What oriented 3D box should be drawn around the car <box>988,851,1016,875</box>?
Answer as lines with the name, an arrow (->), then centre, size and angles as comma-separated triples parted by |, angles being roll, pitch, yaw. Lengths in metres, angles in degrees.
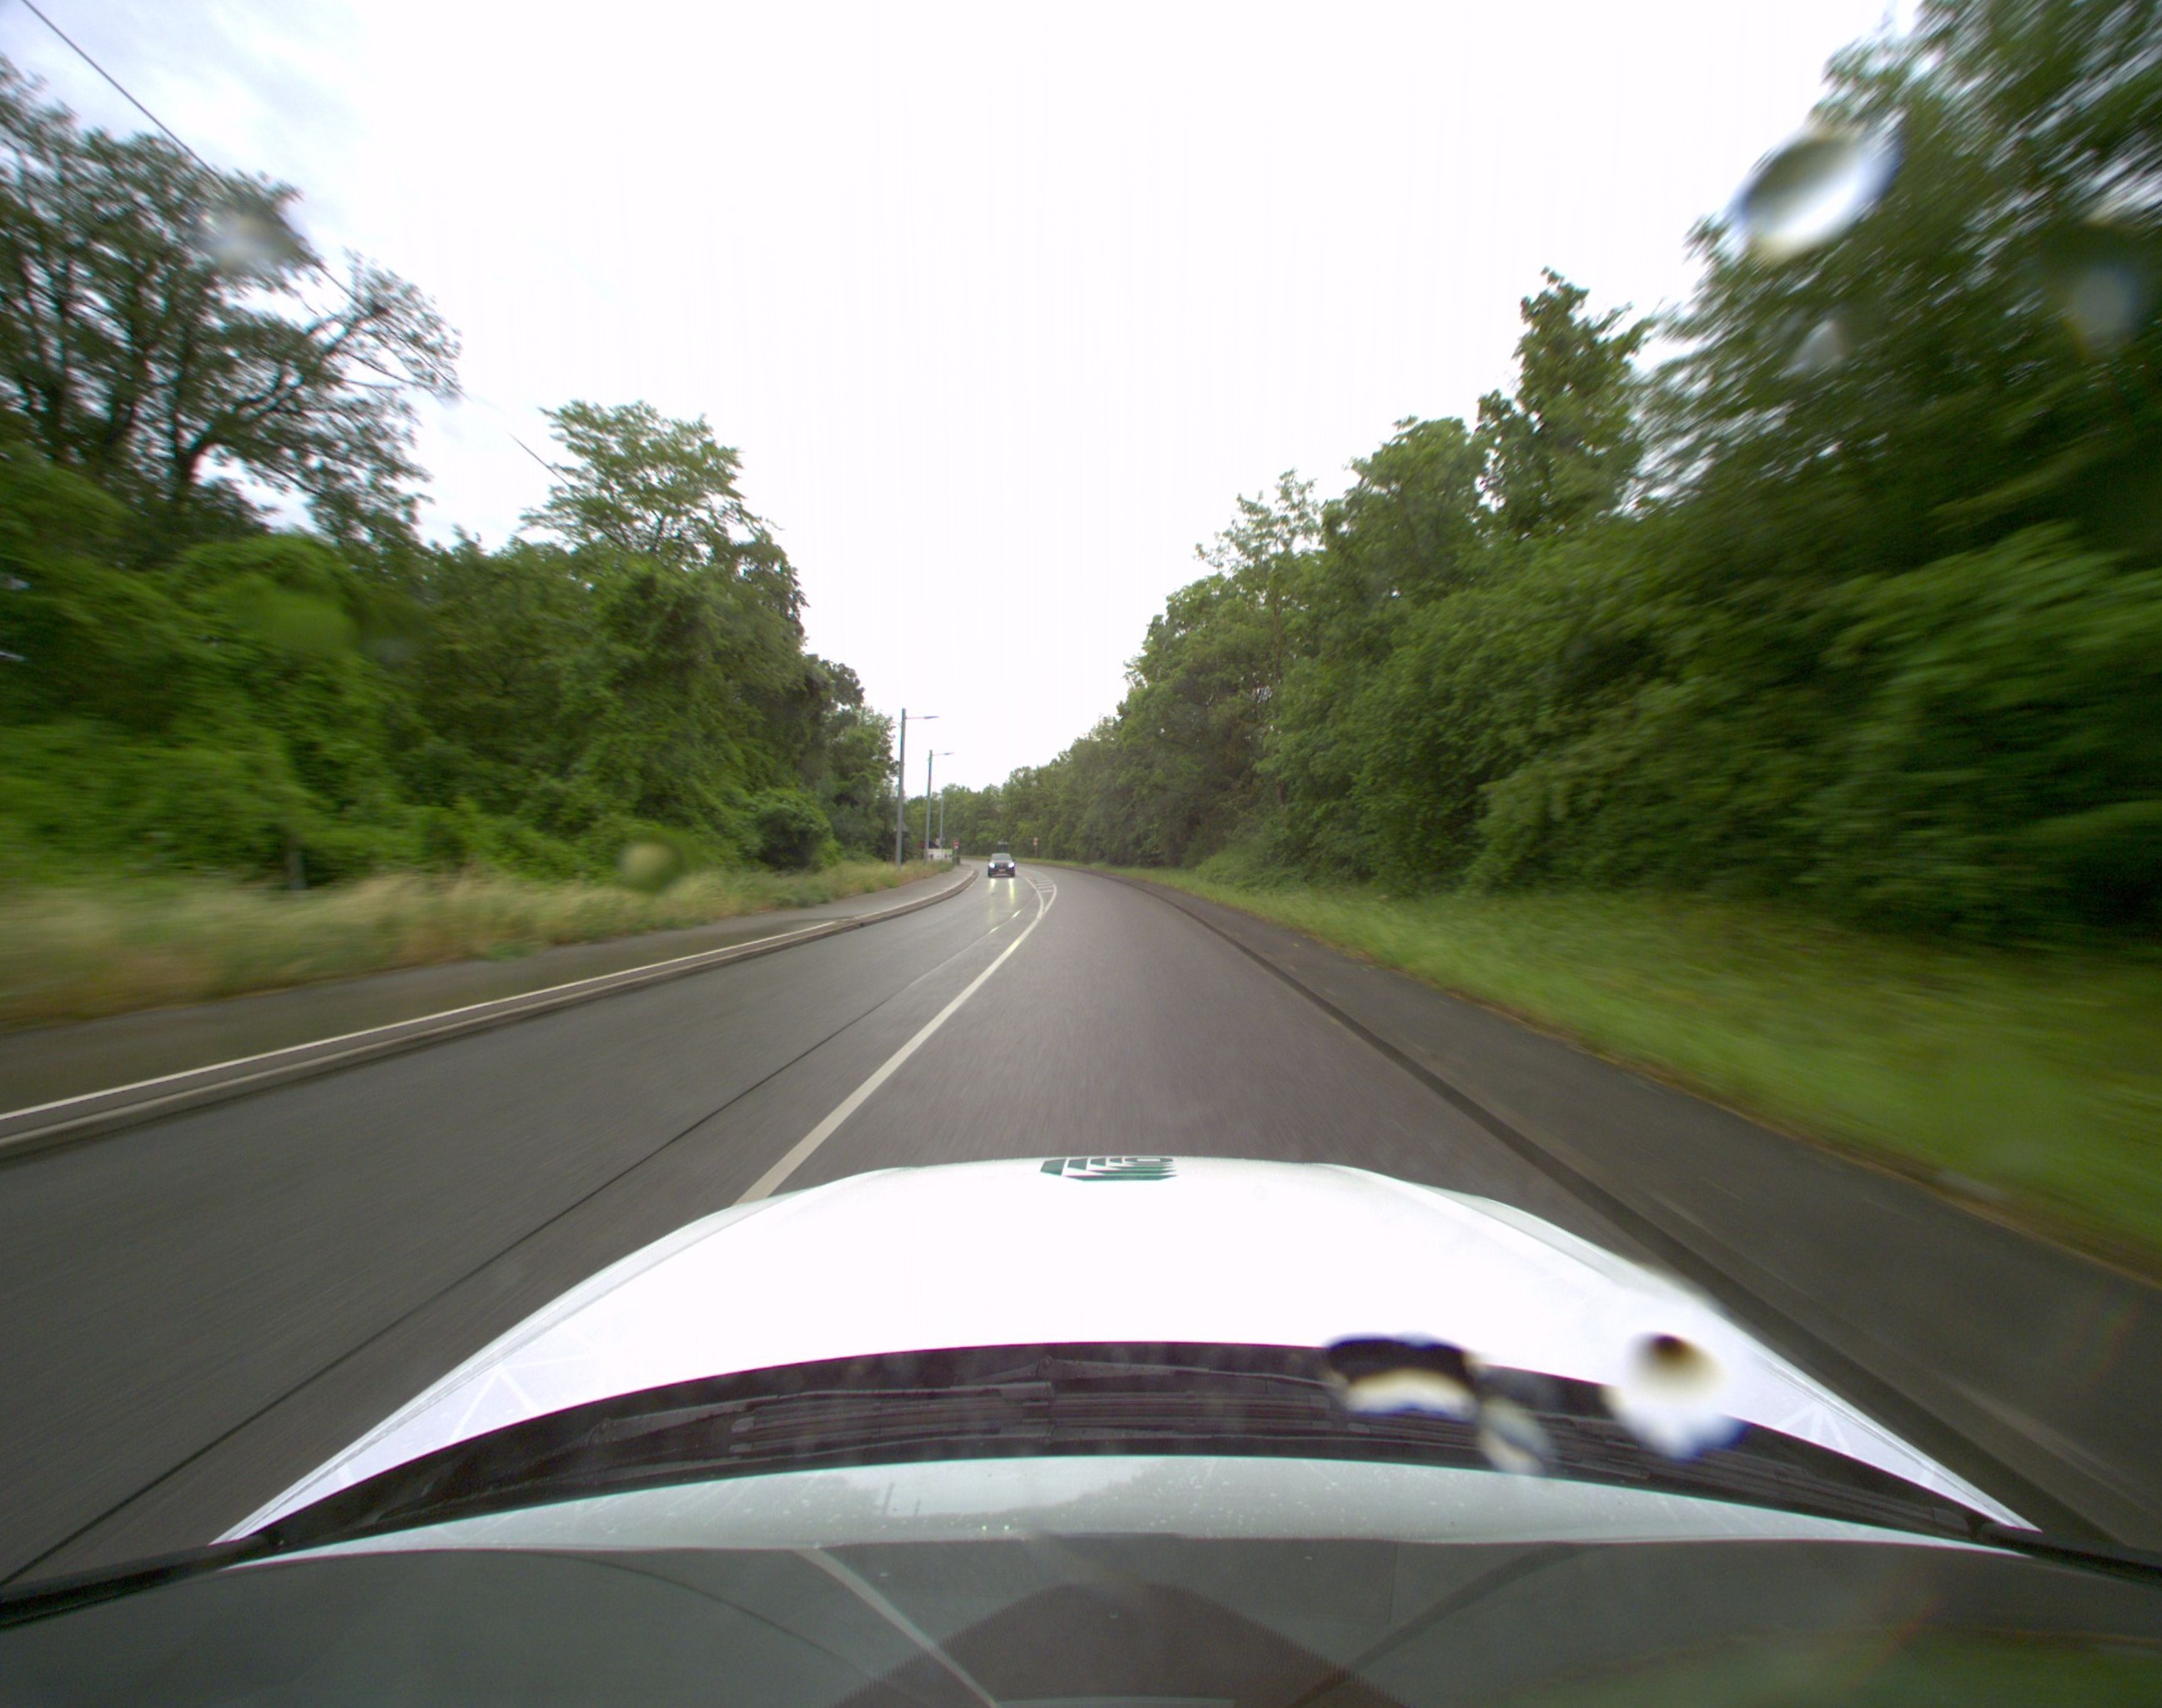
car -> -6.065, 0.647, 62.128 | 1.992, 1.787, 4.694 | 0, 0, -8

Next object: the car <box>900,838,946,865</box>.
car -> -21.262, -0.350, 109.593 | 5.963, 3.502, 1.988 | 0, 0, -18
